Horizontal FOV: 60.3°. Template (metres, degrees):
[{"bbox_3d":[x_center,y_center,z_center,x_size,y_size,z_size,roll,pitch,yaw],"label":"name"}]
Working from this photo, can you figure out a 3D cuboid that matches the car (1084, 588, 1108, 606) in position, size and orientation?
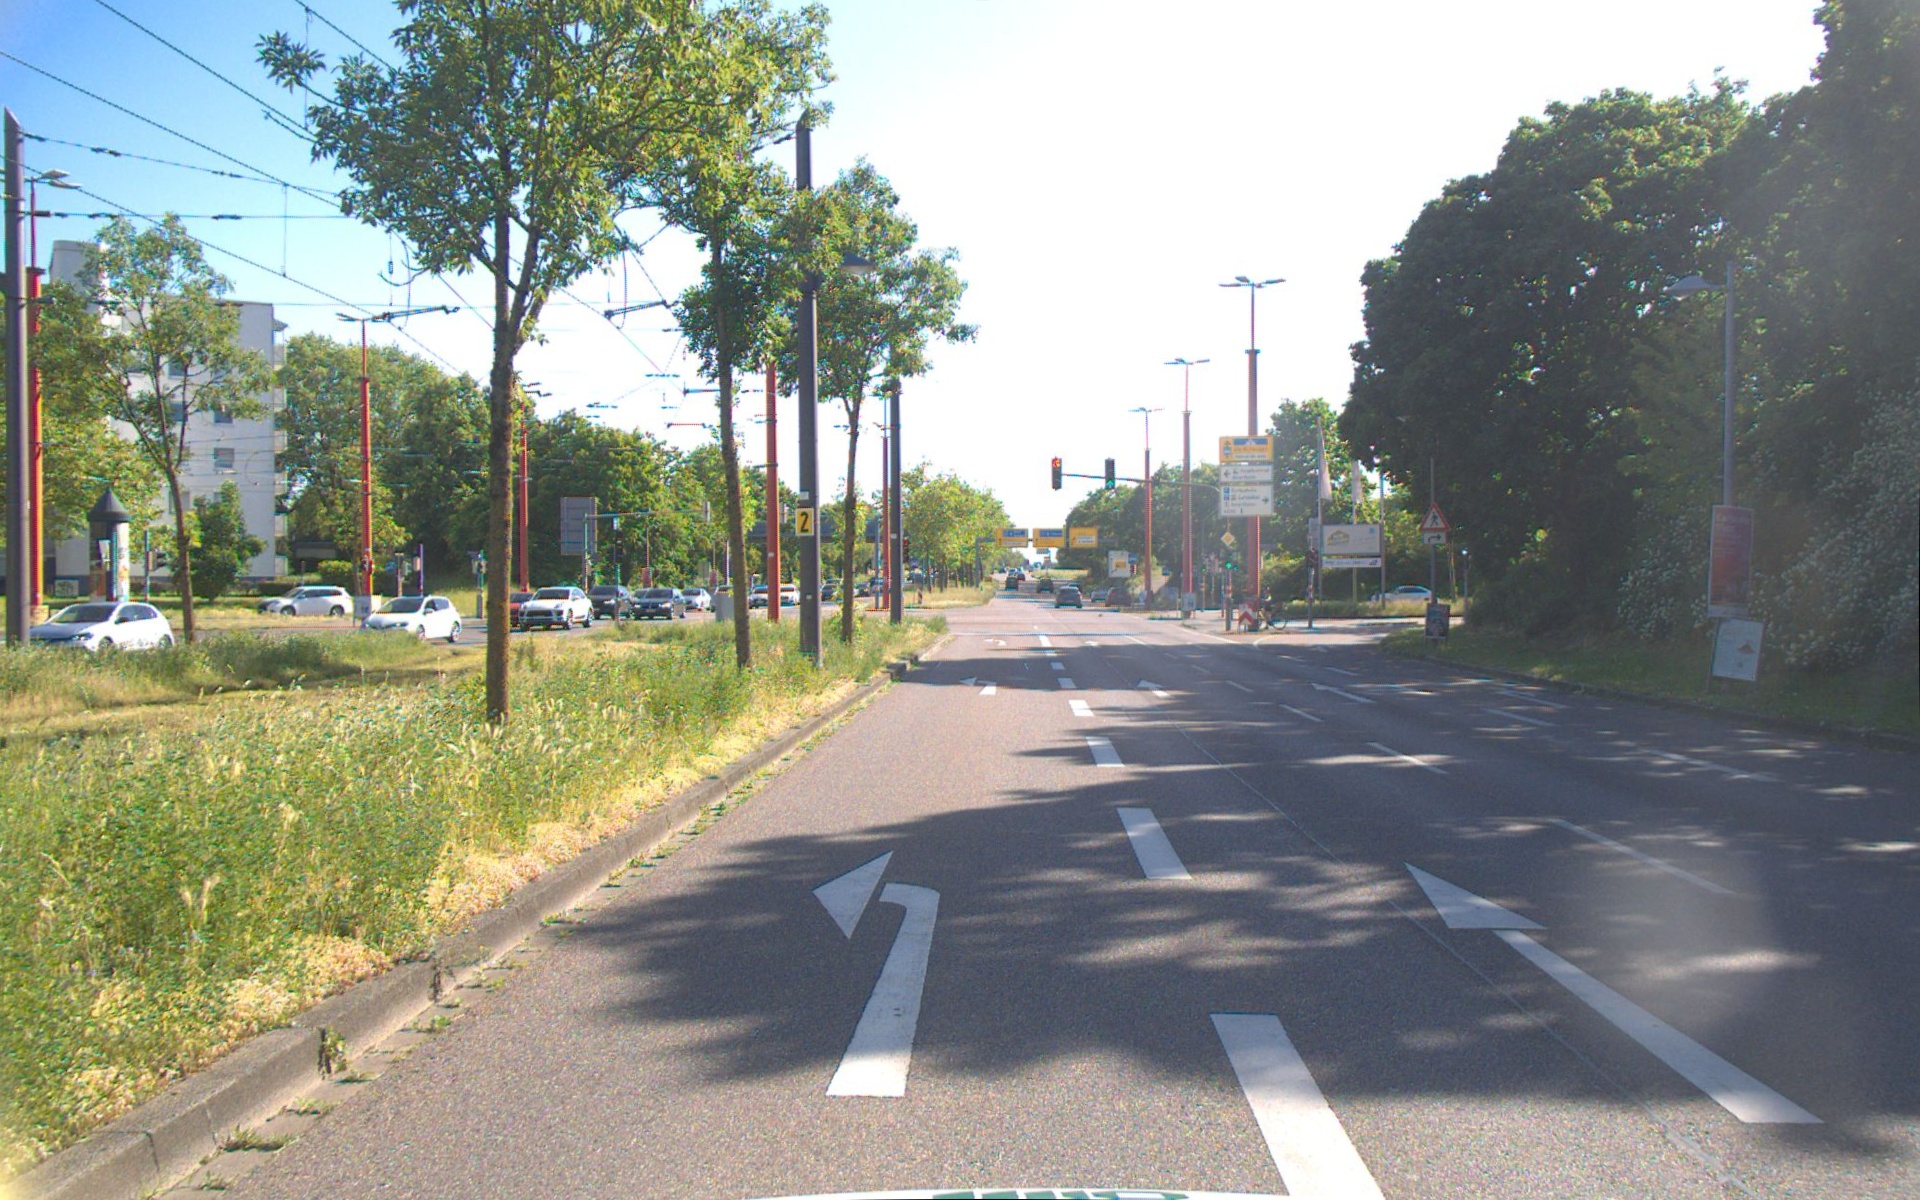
[{"bbox_3d":[12.147,-0.268,147.588,1.952,1.567,4.001,1,0,2],"label":"car"}]

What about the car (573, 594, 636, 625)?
[{"bbox_3d":[-17.758,0.460,82.816,1.952,1.506,4.633,1,0,2],"label":"car"}]

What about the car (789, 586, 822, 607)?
[{"bbox_3d":[-12.446,-0.301,133.751,1.952,1.622,4.466,-1,0,3],"label":"car"}]

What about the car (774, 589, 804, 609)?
[{"bbox_3d":[-12.785,-0.107,123.863,1.668,1.448,4.644,-1,0,1],"label":"car"}]

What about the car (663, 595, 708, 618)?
[{"bbox_3d":[-17.552,0.423,106.098,1.952,1.398,4.402,1,0,3],"label":"car"}]

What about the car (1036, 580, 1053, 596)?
[{"bbox_3d":[10.717,-1.548,210.280,2.110,2.049,4.001,0,0,2],"label":"car"}]

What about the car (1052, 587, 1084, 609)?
[{"bbox_3d":[7.432,-0.146,114.188,1.953,1.523,4.000,0,0,-1],"label":"car"}]

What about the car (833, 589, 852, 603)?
[{"bbox_3d":[-11.748,-0.400,165.233,1.516,1.401,4.263,0,0,1],"label":"car"}]

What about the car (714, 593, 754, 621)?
[{"bbox_3d":[-13.550,0.391,99.198,1.726,1.636,3.759,0,0,2],"label":"car"}]

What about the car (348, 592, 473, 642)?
[{"bbox_3d":[-16.783,0.505,50.748,1.859,1.422,4.547,1,0,7],"label":"car"}]

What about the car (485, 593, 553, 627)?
[{"bbox_3d":[-18.276,0.393,68.683,1.623,1.320,4.178,1,0,1],"label":"car"}]

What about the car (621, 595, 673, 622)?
[{"bbox_3d":[-17.731,0.478,93.809,1.952,1.457,4.694,-1,0,1],"label":"car"}]

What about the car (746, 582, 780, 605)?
[{"bbox_3d":[-13.484,-0.455,113.319,1.556,1.498,4.185,-1,1,3],"label":"car"}]

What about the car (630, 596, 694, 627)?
[{"bbox_3d":[-14.544,0.530,80.862,1.952,1.434,4.992,1,0,3],"label":"car"}]

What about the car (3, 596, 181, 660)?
[{"bbox_3d":[-19.497,0.594,37.359,1.760,1.315,4.001,1,0,3],"label":"car"}]

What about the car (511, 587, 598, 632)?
[{"bbox_3d":[-15.498,0.351,63.466,1.855,1.650,4.659,1,0,5],"label":"car"}]

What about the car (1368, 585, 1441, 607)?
[{"bbox_3d":[28.476,-0.261,106.118,4.284,1.395,2.063,1,0,7],"label":"car"}]

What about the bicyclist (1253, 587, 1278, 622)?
[{"bbox_3d":[11.936,0.168,64.620,0.726,1.365,0.706,1,0,-8],"label":"bicyclist"}]

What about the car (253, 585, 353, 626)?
[{"bbox_3d":[-33.573,0.242,84.562,1.964,2.049,4.383,0,1,41],"label":"car"}]

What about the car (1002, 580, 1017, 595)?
[{"bbox_3d":[6.801,-1.711,227.149,1.953,2.049,3.999,1,0,-1],"label":"car"}]

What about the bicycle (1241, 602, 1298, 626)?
[{"bbox_3d":[12.087,0.559,64.623,2.122,0.894,0.558,1,0,-10],"label":"bicycle"}]

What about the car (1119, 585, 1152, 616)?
[{"bbox_3d":[11.182,-0.006,105.294,1.951,1.920,4.003,1,0,8],"label":"car"}]

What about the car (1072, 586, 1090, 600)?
[{"bbox_3d":[14.083,-0.824,192.930,1.952,1.567,4.001,1,0,2],"label":"car"}]

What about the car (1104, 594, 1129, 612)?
[{"bbox_3d":[11.945,0.219,126.606,1.702,1.365,3.082,0,0,2],"label":"car"}]
